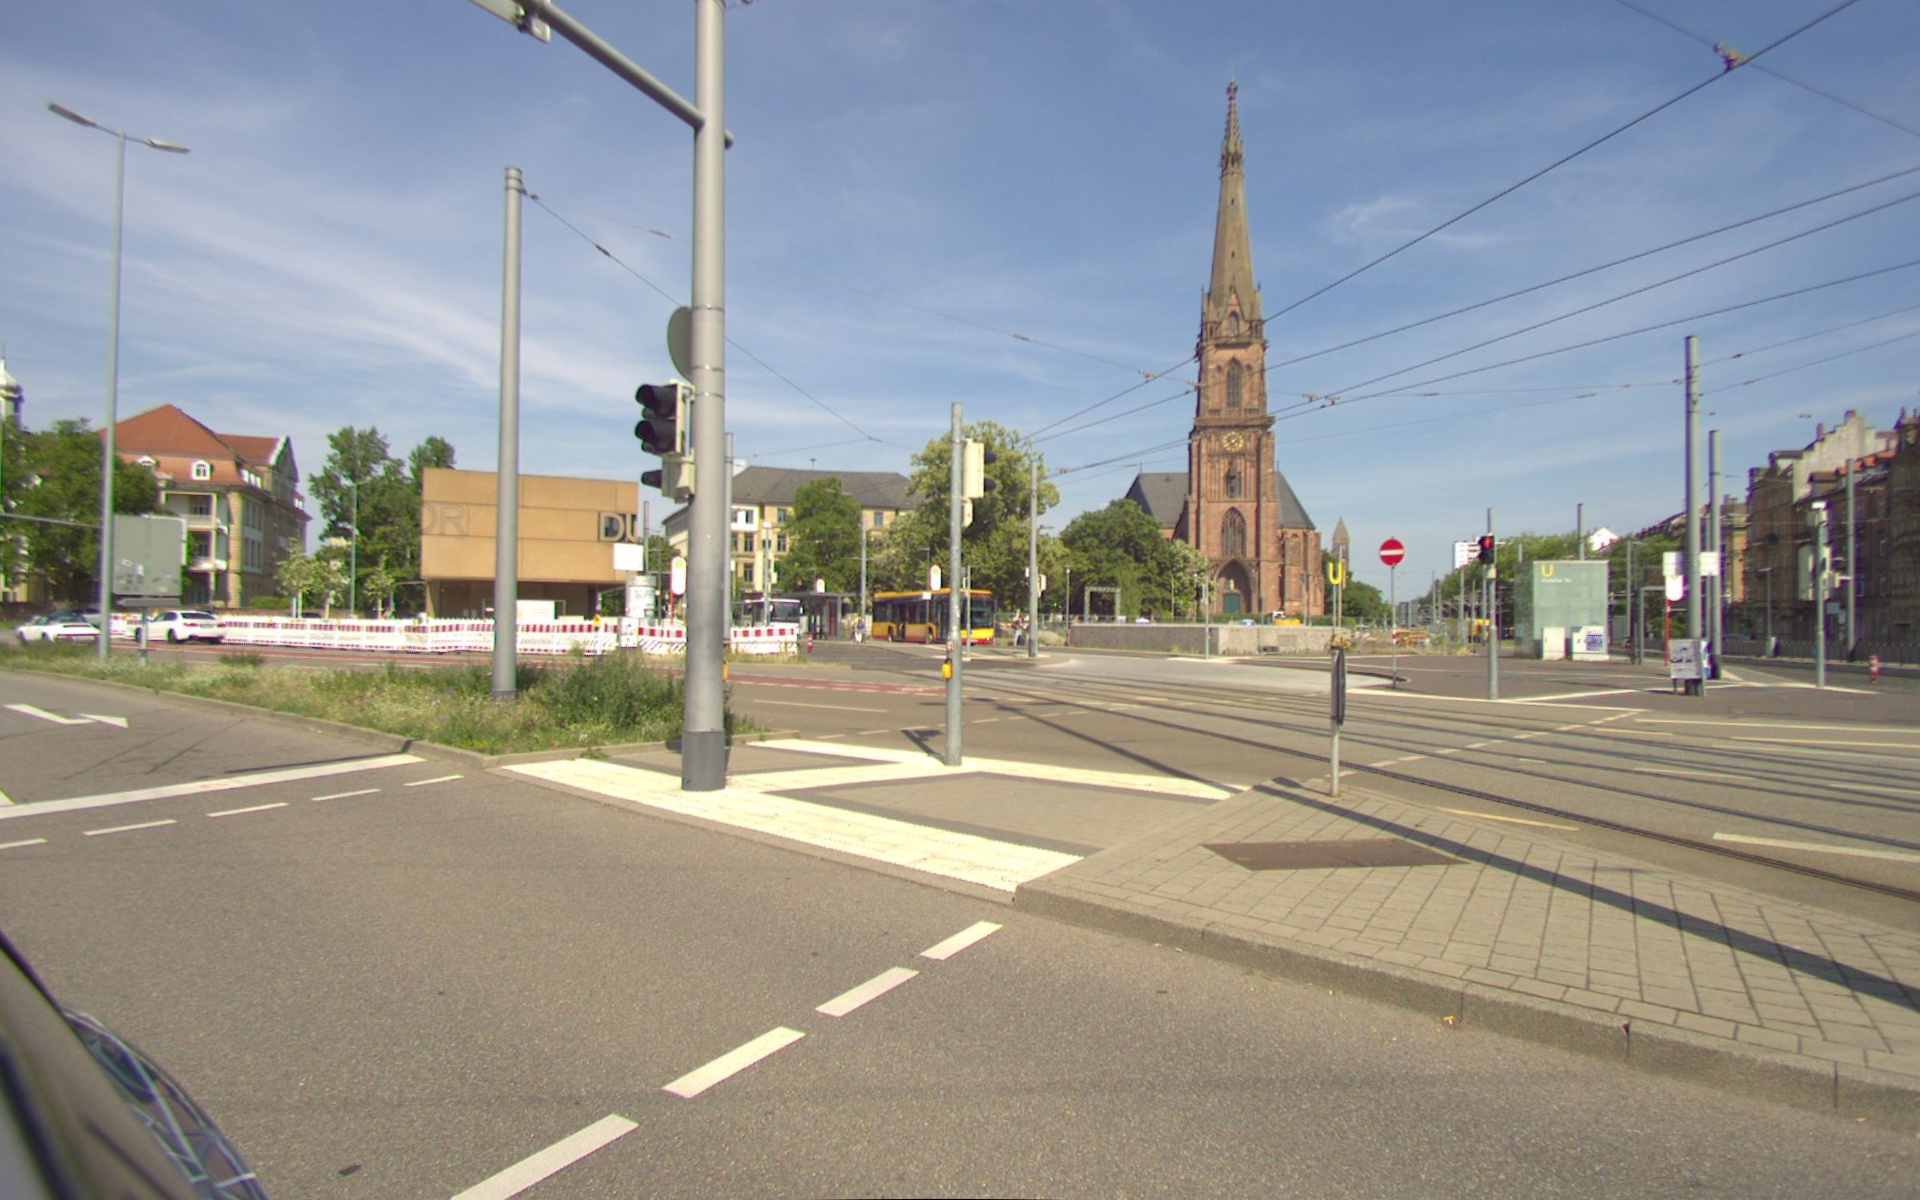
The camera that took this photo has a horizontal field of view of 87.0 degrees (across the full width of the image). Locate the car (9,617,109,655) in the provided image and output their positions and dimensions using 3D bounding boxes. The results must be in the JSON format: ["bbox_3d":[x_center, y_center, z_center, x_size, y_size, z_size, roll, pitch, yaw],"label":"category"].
[{"bbox_3d":[-34.094,1.333,38.278,3.981,1.296,1.584,0,0,28],"label":"car"}]

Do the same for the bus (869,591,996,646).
[{"bbox_3d":[-1.808,0.856,55.592,2.710,2.703,11.828,0,0,-24],"label":"bus"}]

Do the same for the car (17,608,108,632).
[{"bbox_3d":[-56.957,1.241,64.321,1.742,1.454,4.095,0,0,13],"label":"car"}]

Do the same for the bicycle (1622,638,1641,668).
[{"bbox_3d":[25.765,2.013,38.844,0.413,1.079,1.641,-2,-1,40],"label":"bicycle"}]

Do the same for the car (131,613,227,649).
[{"bbox_3d":[-33.240,1.285,43.057,3.981,1.431,1.786,0,0,28],"label":"car"}]

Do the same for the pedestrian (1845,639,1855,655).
[{"bbox_3d":[81.139,4.266,92.246,0.529,1.417,0.488,0,0,16],"label":"pedestrian"}]

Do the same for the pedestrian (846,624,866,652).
[{"bbox_3d":[-5.309,1.936,51.672,0.911,1.377,0.532,0,0,39],"label":"pedestrian"}]

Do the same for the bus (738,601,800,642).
[{"bbox_3d":[-16.883,1.914,88.655,2.710,3.348,11.827,1,-2,-24],"label":"bus"}]
